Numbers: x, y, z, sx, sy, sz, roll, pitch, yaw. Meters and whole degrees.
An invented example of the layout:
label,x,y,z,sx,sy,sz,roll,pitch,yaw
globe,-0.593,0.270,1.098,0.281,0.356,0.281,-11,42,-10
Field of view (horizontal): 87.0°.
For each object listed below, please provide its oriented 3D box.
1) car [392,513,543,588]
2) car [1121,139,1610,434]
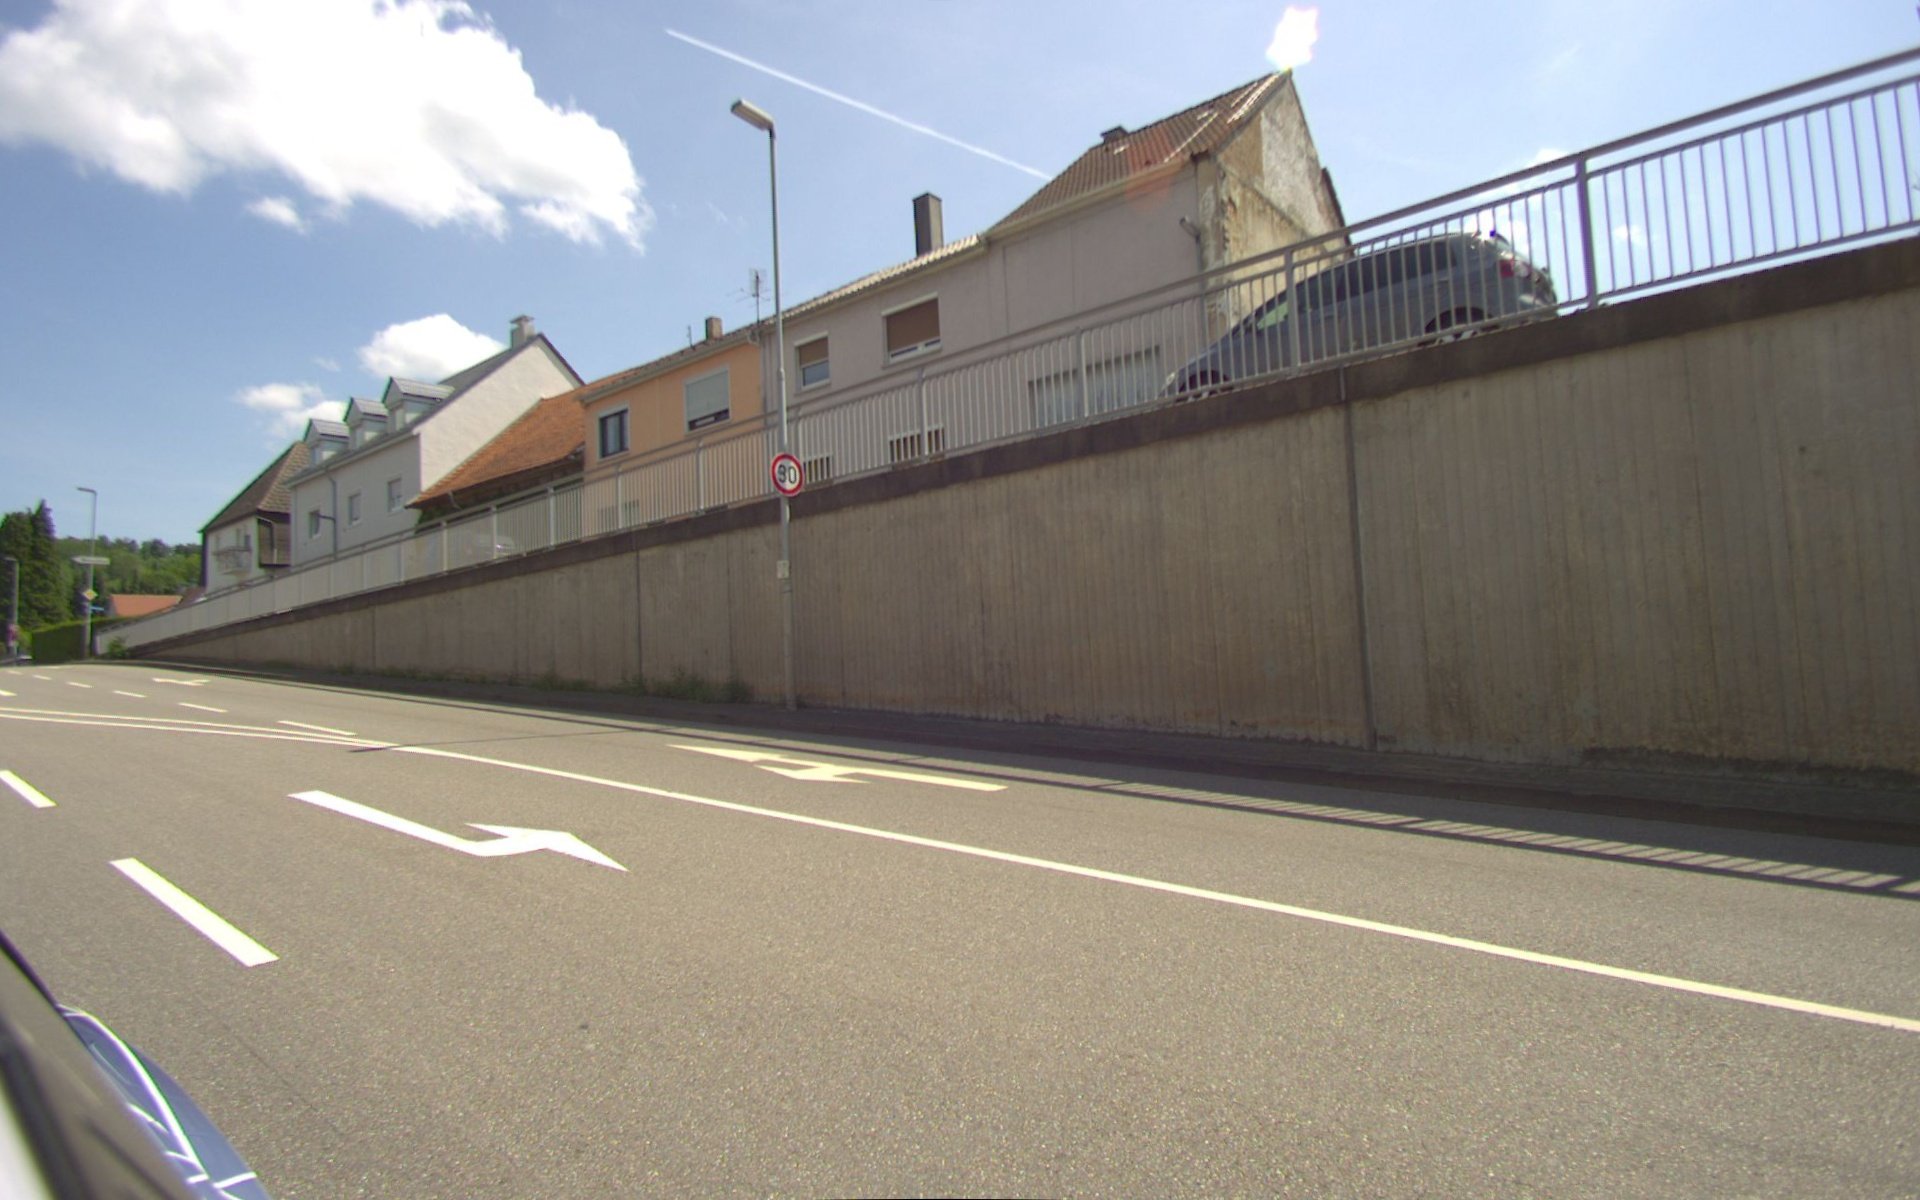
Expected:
label,x,y,z,sx,sy,sz,roll,pitch,yaw
car,-12.623,-1.186,25.838,4.388,1.416,1.768,-5,-4,39
car,4.086,-2.995,10.632,4.388,1.536,1.781,-5,-4,39
